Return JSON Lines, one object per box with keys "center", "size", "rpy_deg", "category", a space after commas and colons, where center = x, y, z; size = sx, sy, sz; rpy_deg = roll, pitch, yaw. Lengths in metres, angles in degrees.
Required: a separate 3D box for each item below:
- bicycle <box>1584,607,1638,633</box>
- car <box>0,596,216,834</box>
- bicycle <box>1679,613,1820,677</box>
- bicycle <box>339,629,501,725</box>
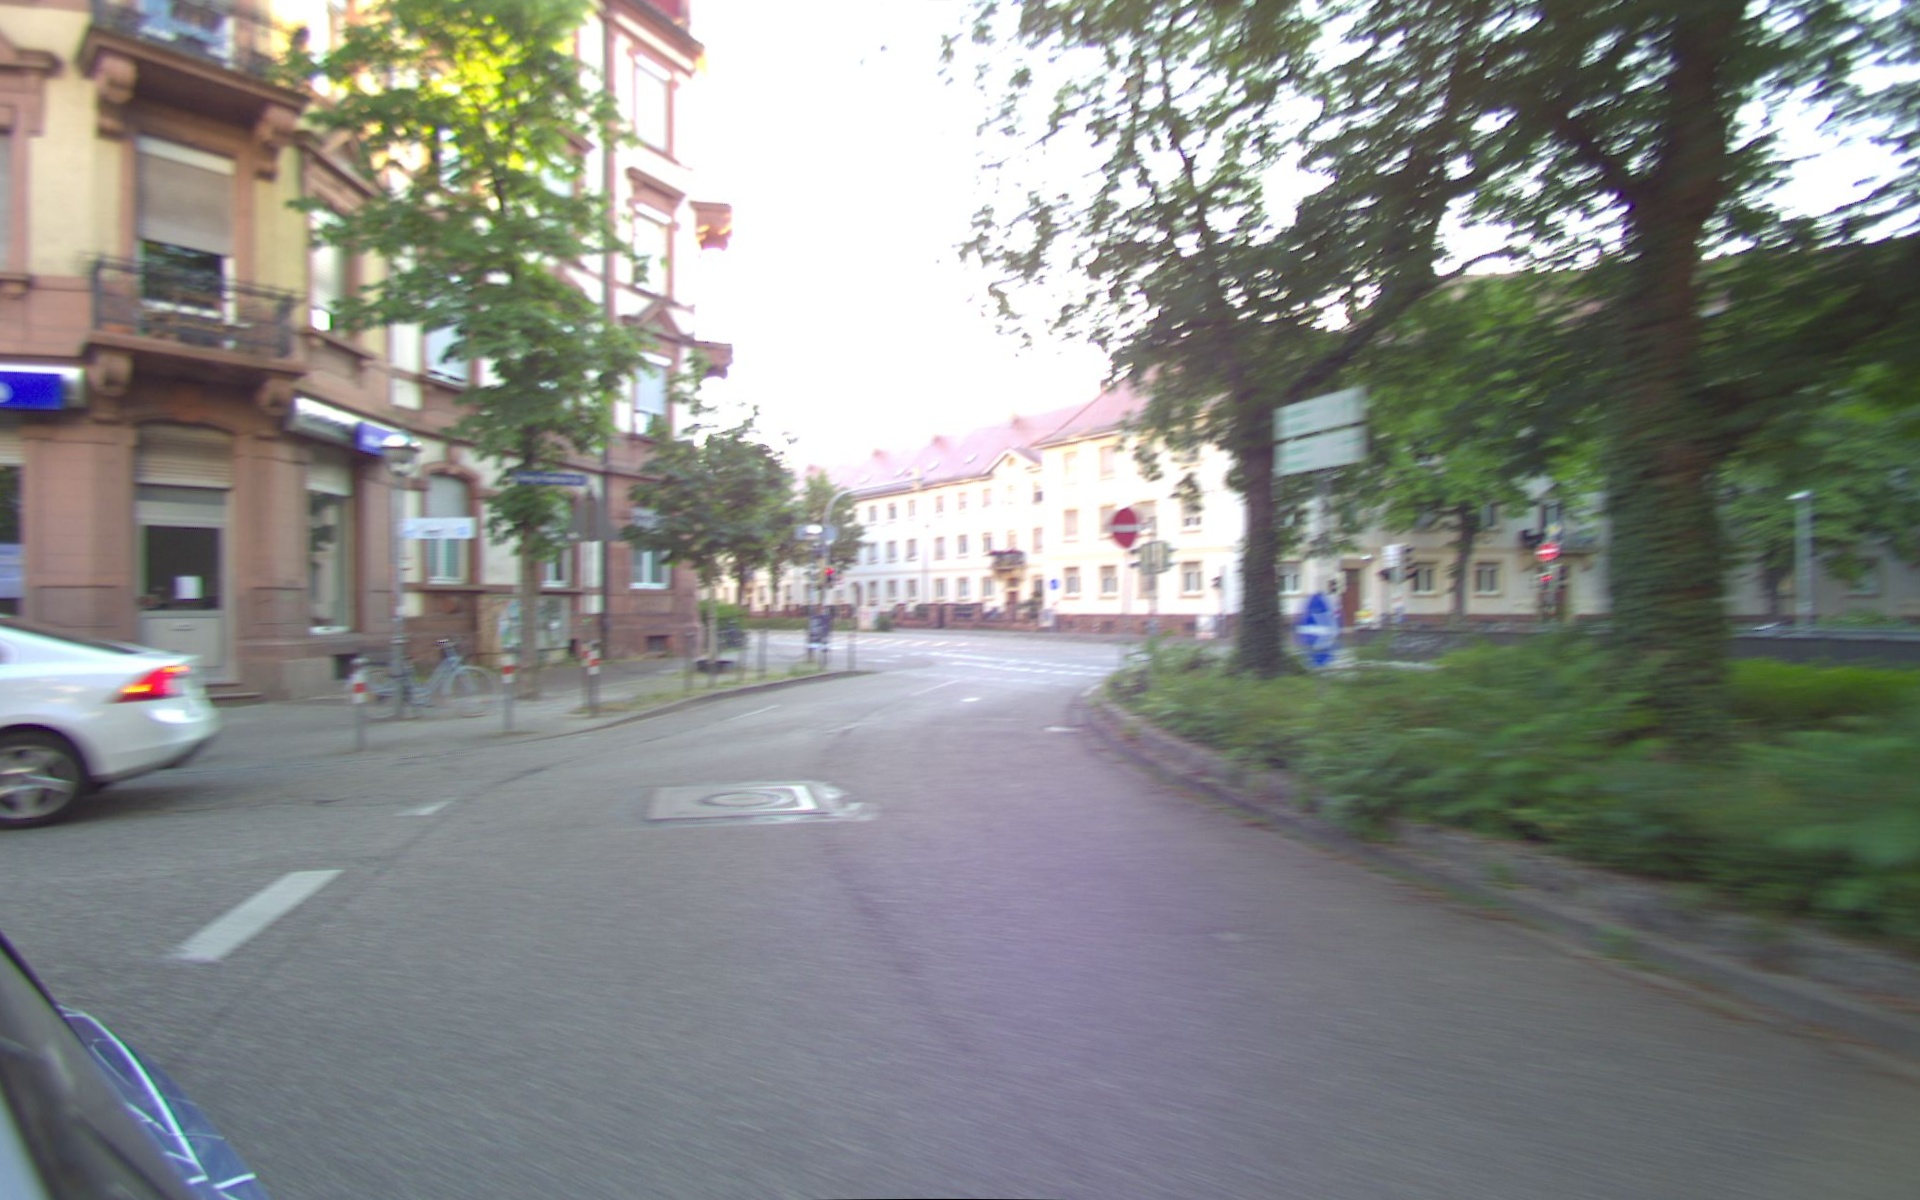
{"center": [28.664, 0.884, 44.587], "size": [1.905, 1.160, 0.682], "rpy_deg": [-1, -1, 20], "category": "bicycle"}
{"center": [-7.951, 0.756, 6.634], "size": [4.758, 1.528, 2.006], "rpy_deg": [0, 0, -30], "category": "car"}
{"center": [13.763, 0.752, 17.695], "size": [0.537, 1.059, 1.860], "rpy_deg": [0, -1, -36], "category": "bicycle"}
{"center": [-6.767, 0.939, 12.747], "size": [1.767, 1.091, 0.562], "rpy_deg": [0, 1, -28], "category": "bicycle"}
